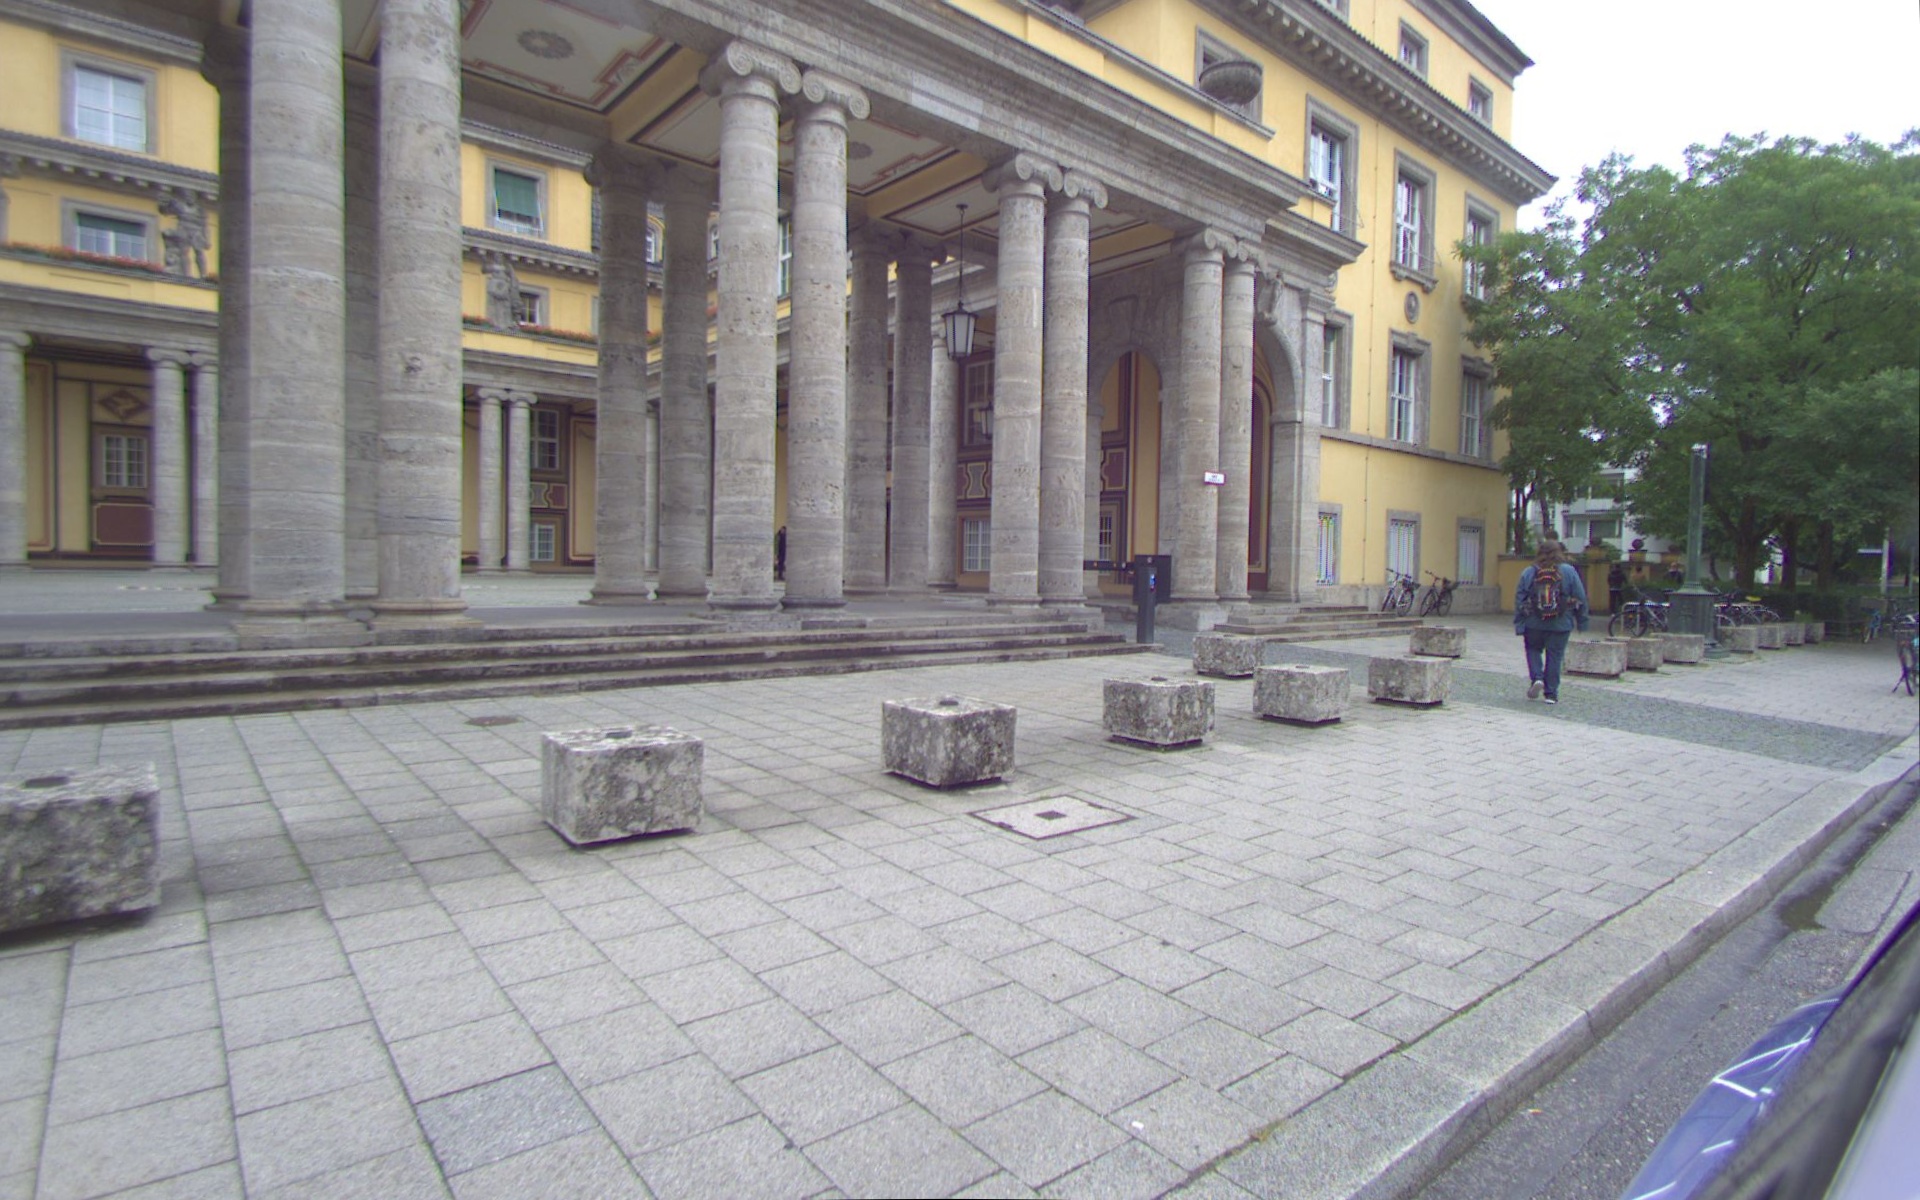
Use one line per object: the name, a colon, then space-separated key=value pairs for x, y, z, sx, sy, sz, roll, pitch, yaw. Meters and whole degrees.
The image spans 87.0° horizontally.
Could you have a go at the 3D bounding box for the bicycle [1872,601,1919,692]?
bicycle: x=13.257 y=0.621 z=13.903 sx=2.225 sy=1.113 sz=0.762 roll=-1 pitch=5 yaw=-42

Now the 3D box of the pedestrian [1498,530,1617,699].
pedestrian: x=6.612 y=0.129 z=11.197 sx=1.037 sy=1.767 sz=0.789 roll=0 pitch=3 yaw=-41

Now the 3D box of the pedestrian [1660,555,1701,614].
pedestrian: x=24.064 y=-0.526 z=33.800 sx=1.017 sy=1.887 sz=0.782 roll=-1 pitch=6 yaw=-41

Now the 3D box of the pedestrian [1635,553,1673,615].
pedestrian: x=21.637 y=-0.507 z=31.567 sx=0.806 sy=1.887 sz=0.659 roll=-1 pitch=6 yaw=-41

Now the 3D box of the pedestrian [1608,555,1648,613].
pedestrian: x=21.178 y=-0.520 z=32.105 sx=0.827 sy=1.764 sz=0.741 roll=-1 pitch=6 yaw=-40

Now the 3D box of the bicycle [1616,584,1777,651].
bicycle: x=13.925 y=0.305 z=19.186 sx=2.362 sy=1.018 sz=0.668 roll=7 pitch=5 yaw=41

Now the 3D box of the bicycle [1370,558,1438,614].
bicycle: x=11.071 y=-0.364 z=25.203 sx=2.224 sy=1.323 sz=0.601 roll=-1 pitch=3 yaw=-41

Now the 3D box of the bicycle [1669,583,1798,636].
bicycle: x=17.980 y=0.198 z=23.581 sx=0.591 sy=1.023 sz=2.264 roll=1 pitch=4 yaw=-37

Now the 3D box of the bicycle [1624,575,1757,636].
bicycle: x=16.170 y=0.086 z=22.448 sx=2.256 sy=1.035 sz=0.593 roll=10 pitch=8 yaw=39

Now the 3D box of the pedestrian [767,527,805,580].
pedestrian: x=-5.909 y=-1.555 z=34.343 sx=0.968 sy=1.742 sz=0.805 roll=-1 pitch=0 yaw=-42

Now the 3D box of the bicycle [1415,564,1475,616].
bicycle: x=12.821 y=-0.271 z=26.720 sx=2.127 sy=1.323 sz=0.601 roll=-1 pitch=3 yaw=-41

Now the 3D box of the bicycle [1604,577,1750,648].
bicycle: x=14.361 y=0.220 z=20.318 sx=2.256 sy=1.107 sz=0.593 roll=10 pitch=8 yaw=39

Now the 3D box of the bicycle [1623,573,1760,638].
bicycle: x=15.635 y=0.097 z=21.690 sx=2.256 sy=1.071 sz=0.593 roll=10 pitch=8 yaw=39
